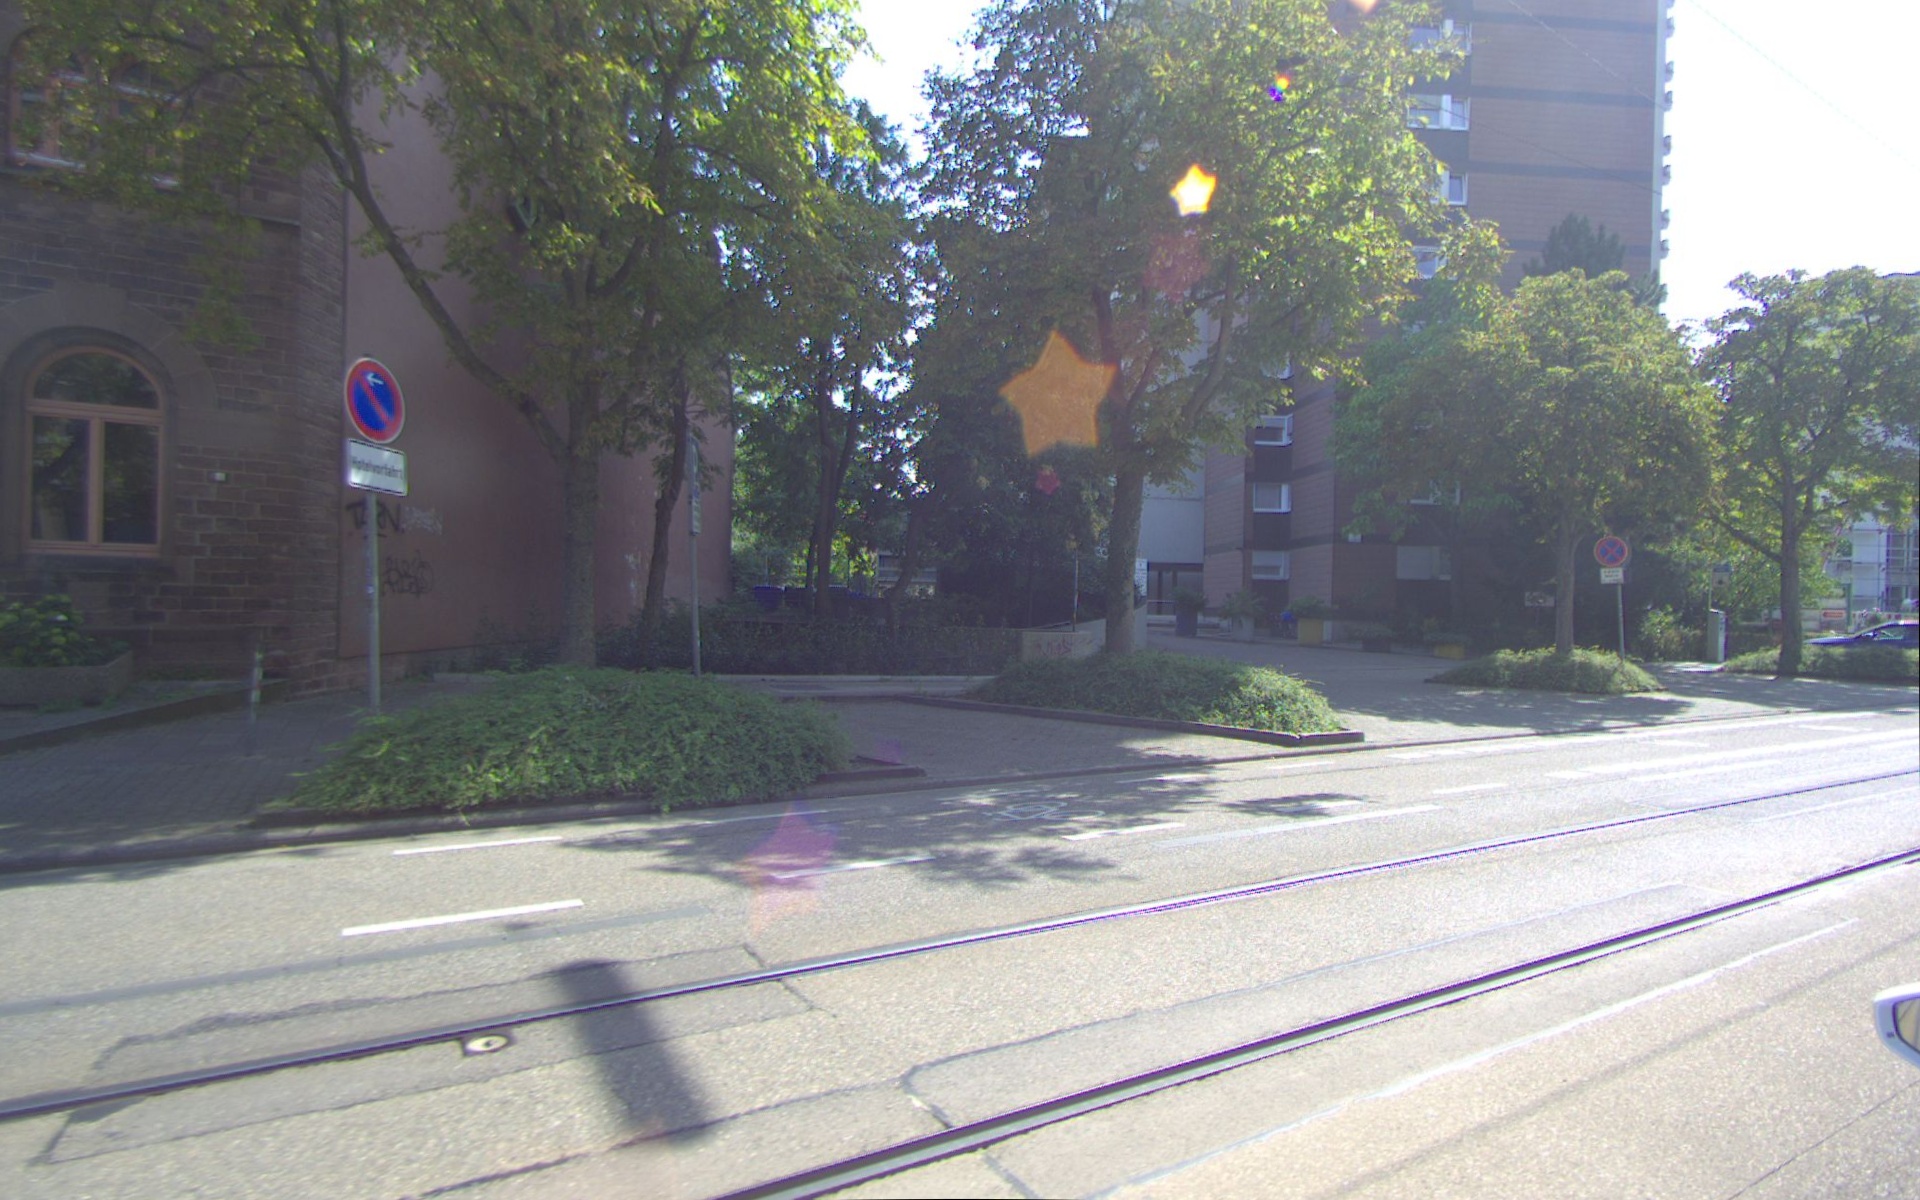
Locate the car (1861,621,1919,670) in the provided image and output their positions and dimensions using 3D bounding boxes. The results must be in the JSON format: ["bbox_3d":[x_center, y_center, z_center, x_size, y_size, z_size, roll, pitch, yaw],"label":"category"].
[{"bbox_3d":[31.591,1.493,31.858,4.223,1.517,1.775,2,0,34],"label":"car"}]

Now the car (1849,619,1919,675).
[{"bbox_3d":[29.111,1.423,29.703,3.931,1.591,1.776,2,0,33],"label":"car"}]

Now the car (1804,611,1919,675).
[{"bbox_3d":[26.455,1.206,28.306,3.936,1.670,1.835,2,0,37],"label":"car"}]
